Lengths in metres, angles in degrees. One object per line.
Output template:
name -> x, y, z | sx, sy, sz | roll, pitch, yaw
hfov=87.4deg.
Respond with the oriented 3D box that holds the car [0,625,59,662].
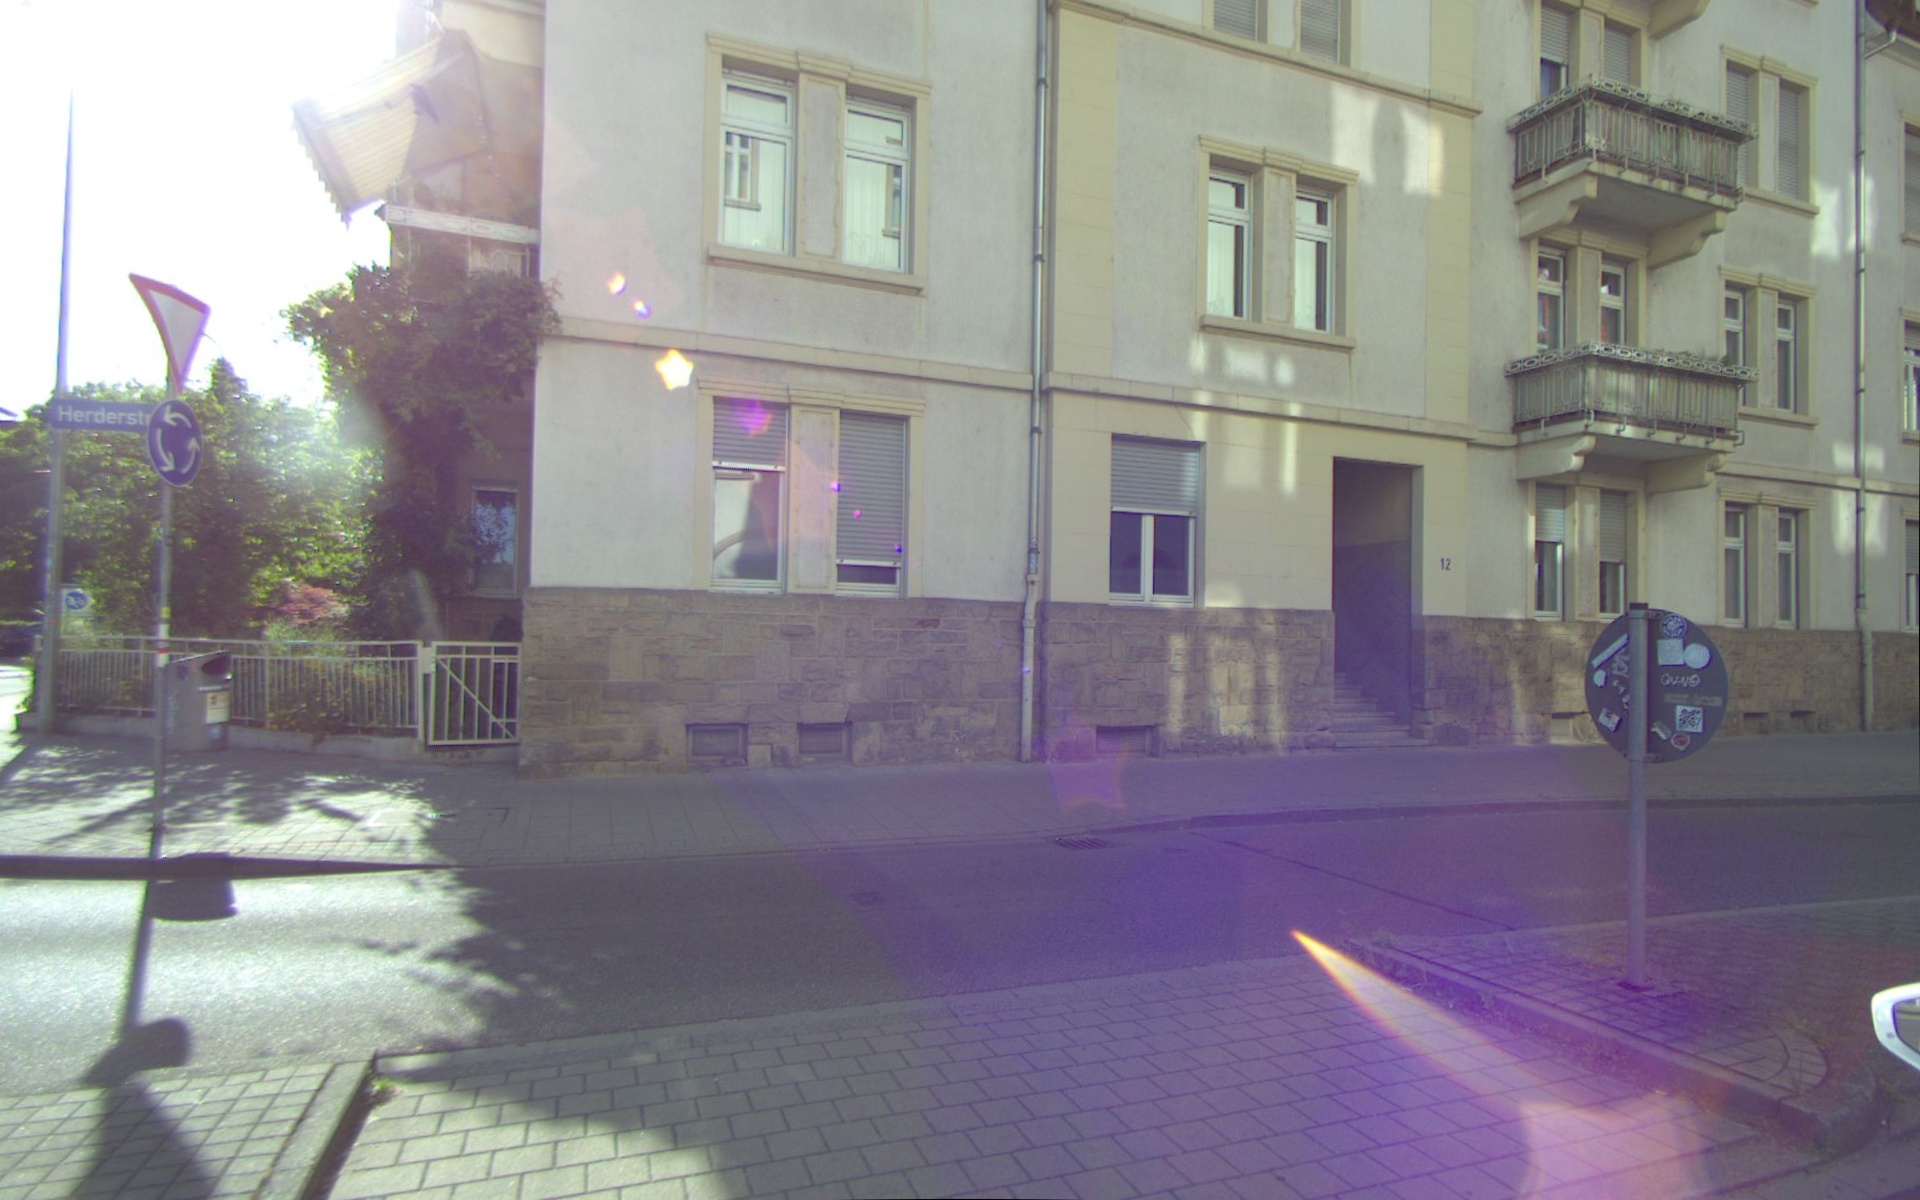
car -> -39.979, 1.744, 41.215 | 3.933, 1.483, 1.994 | 2, -2, -15
